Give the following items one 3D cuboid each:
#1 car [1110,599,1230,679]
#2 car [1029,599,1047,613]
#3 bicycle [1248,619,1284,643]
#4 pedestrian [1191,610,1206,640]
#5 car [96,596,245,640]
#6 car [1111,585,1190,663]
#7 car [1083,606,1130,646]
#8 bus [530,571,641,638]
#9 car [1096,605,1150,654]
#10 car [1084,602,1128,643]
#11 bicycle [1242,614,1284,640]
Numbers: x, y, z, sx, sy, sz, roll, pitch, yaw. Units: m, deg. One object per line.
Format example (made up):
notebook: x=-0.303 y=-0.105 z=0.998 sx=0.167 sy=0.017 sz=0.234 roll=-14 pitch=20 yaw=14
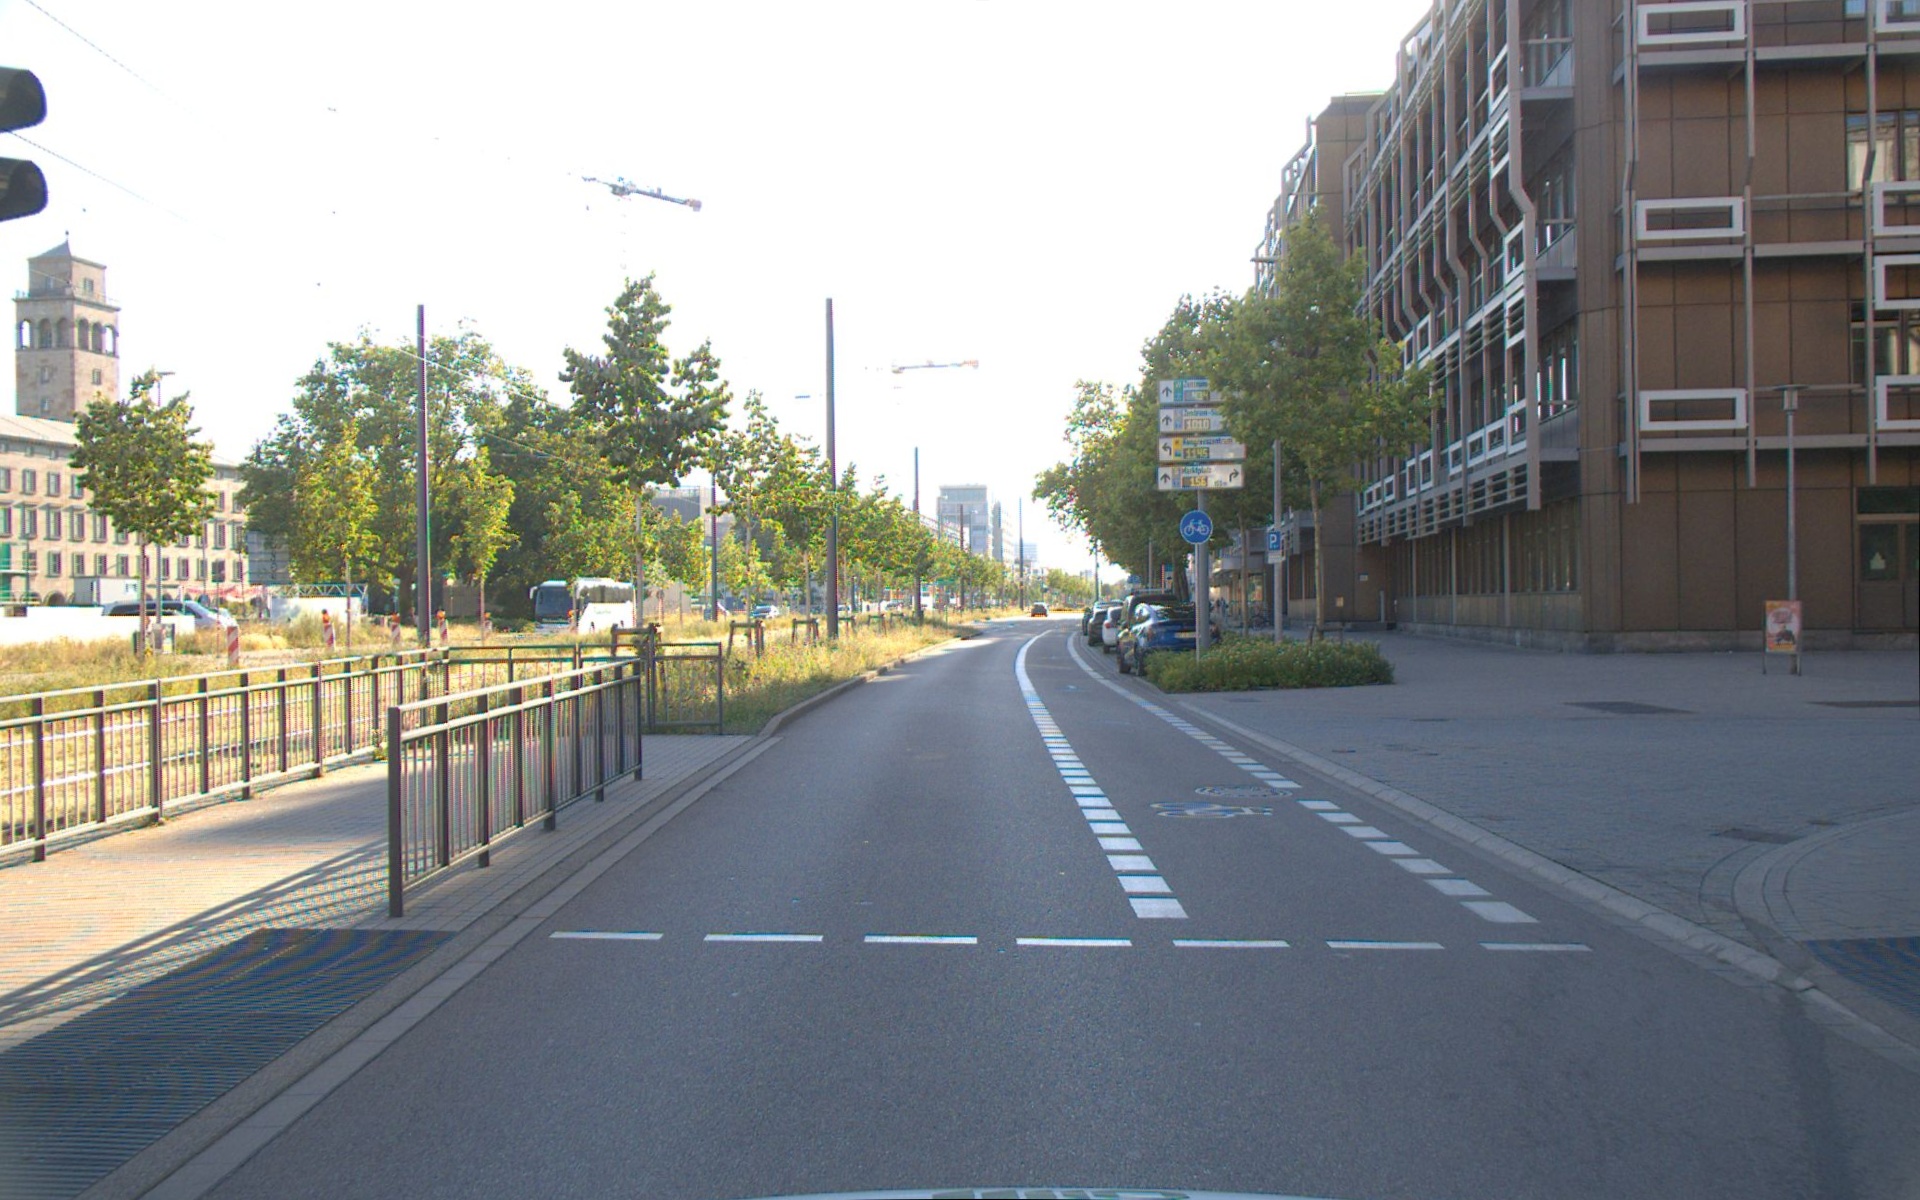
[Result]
car: x=4.684 y=0.849 z=37.506 sx=1.892 sy=1.626 sz=4.697 roll=-2 pitch=-1 yaw=-2
car: x=8.460 y=0.673 z=179.388 sx=1.739 sy=1.453 sz=4.002 roll=1 pitch=-1 yaw=5
bicycle: x=14.448 y=1.455 z=78.079 sx=1.592 sy=1.101 sz=0.392 roll=-1 pitch=-1 yaw=6
pedestrian: x=13.688 y=1.431 z=94.854 sx=0.772 sy=1.677 sz=1.137 roll=-1 pitch=-1 yaw=4
car: x=-32.357 y=0.742 z=67.869 sx=5.117 sy=1.747 sz=2.125 roll=0 pitch=-1 yaw=3
car: x=5.127 y=0.643 z=45.078 sx=1.699 sy=1.953 sz=4.394 roll=-2 pitch=-1 yaw=1
car: x=5.776 y=1.003 z=65.517 sx=1.757 sy=1.474 sz=4.378 roll=-2 pitch=-1 yaw=4
bus: x=-21.849 y=0.317 z=97.395 sx=2.740 sy=3.658 sz=12.704 roll=0 pitch=-1 yaw=4
car: x=5.367 y=0.948 z=54.742 sx=1.629 sy=1.516 sz=4.206 roll=-2 pitch=-1 yaw=4
car: x=6.284 y=0.965 z=71.459 sx=1.692 sy=1.650 sz=4.217 roll=-2 pitch=-1 yaw=3
bicycle: x=13.879 y=1.230 z=75.772 sx=1.861 sy=1.112 sz=0.392 roll=-1 pitch=-1 yaw=-2
